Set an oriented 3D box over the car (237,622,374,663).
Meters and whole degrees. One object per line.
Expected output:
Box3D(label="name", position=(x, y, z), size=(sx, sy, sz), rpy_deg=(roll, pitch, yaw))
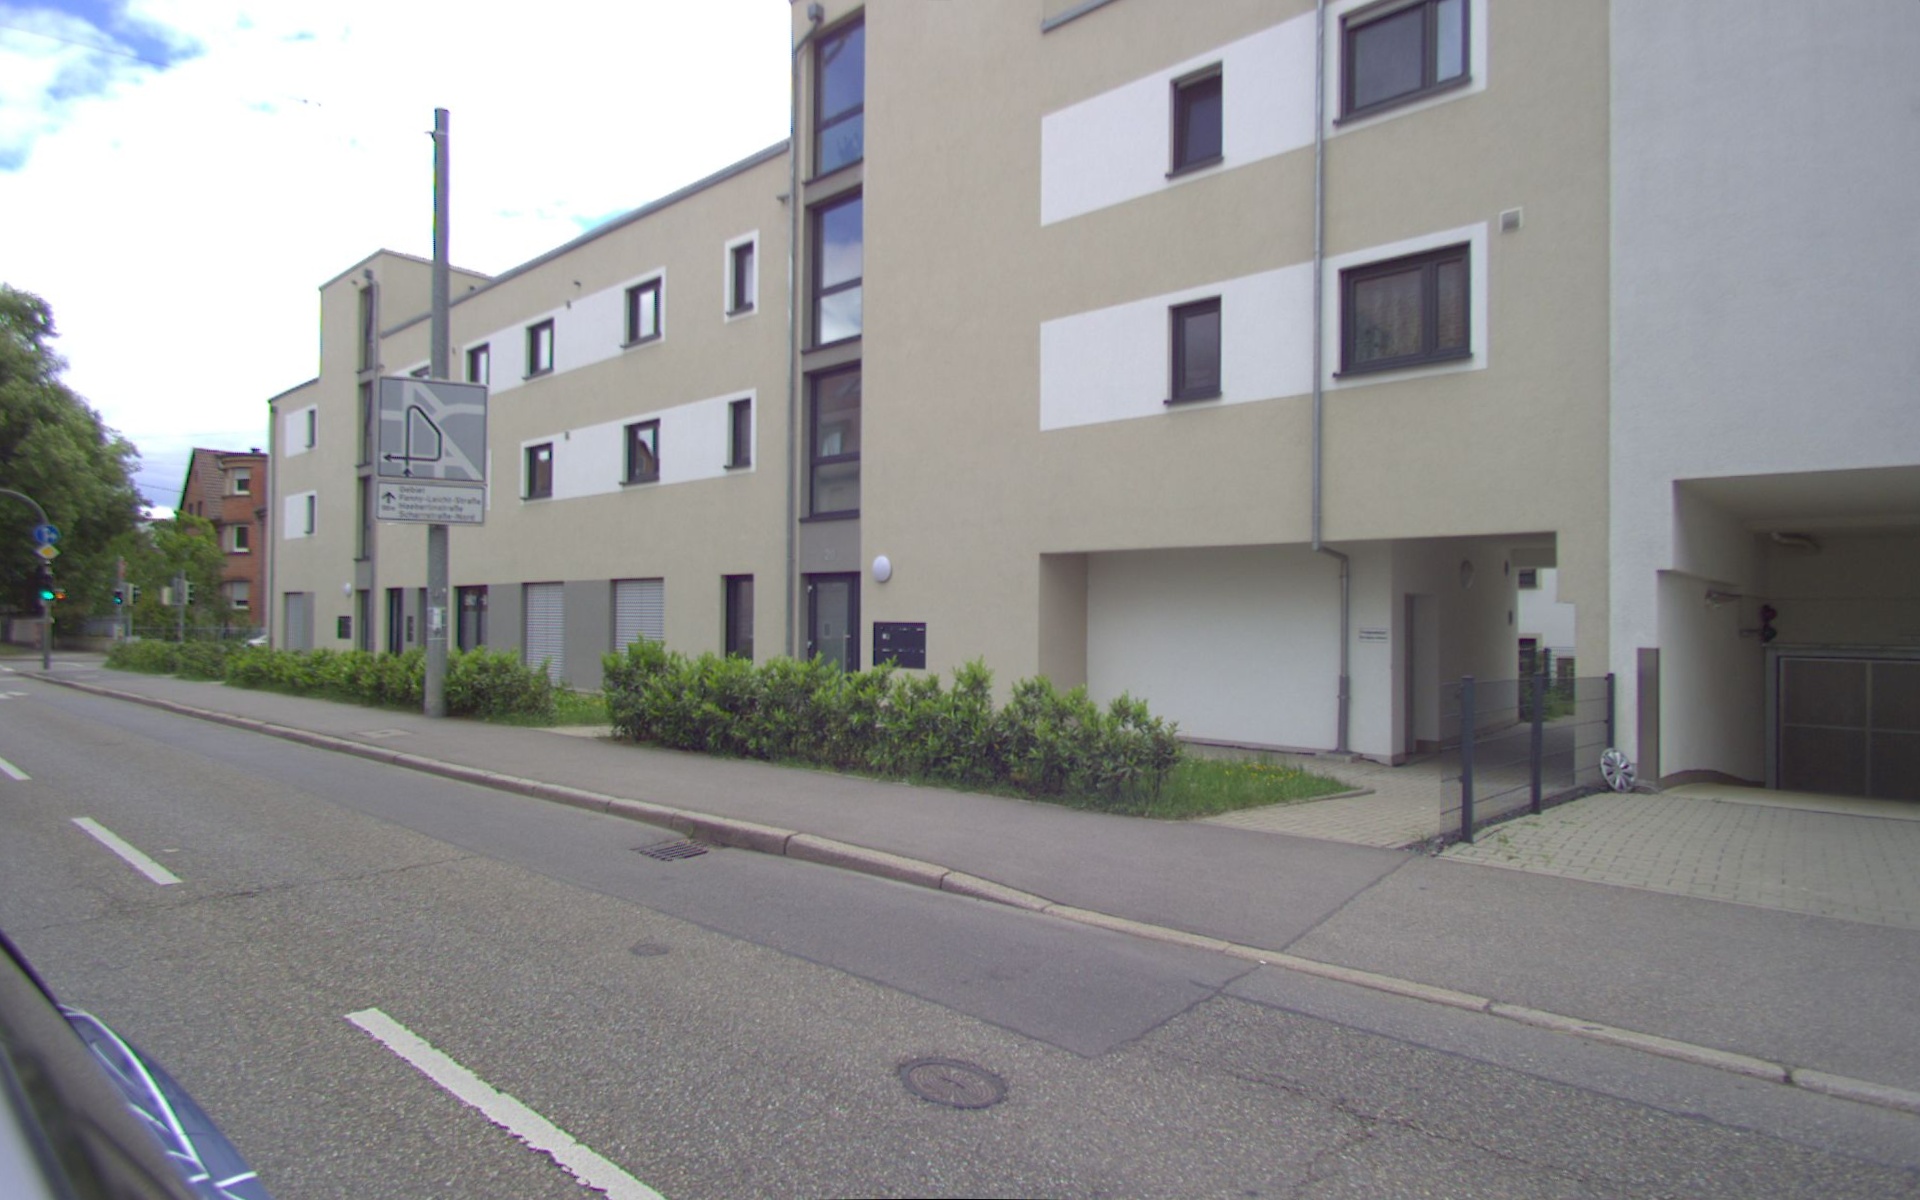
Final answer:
Box3D(label="car", position=(-29.529, 1.865, 45.767), size=(2.171, 1.697, 4.757), rpy_deg=(-1, -1, 36))
